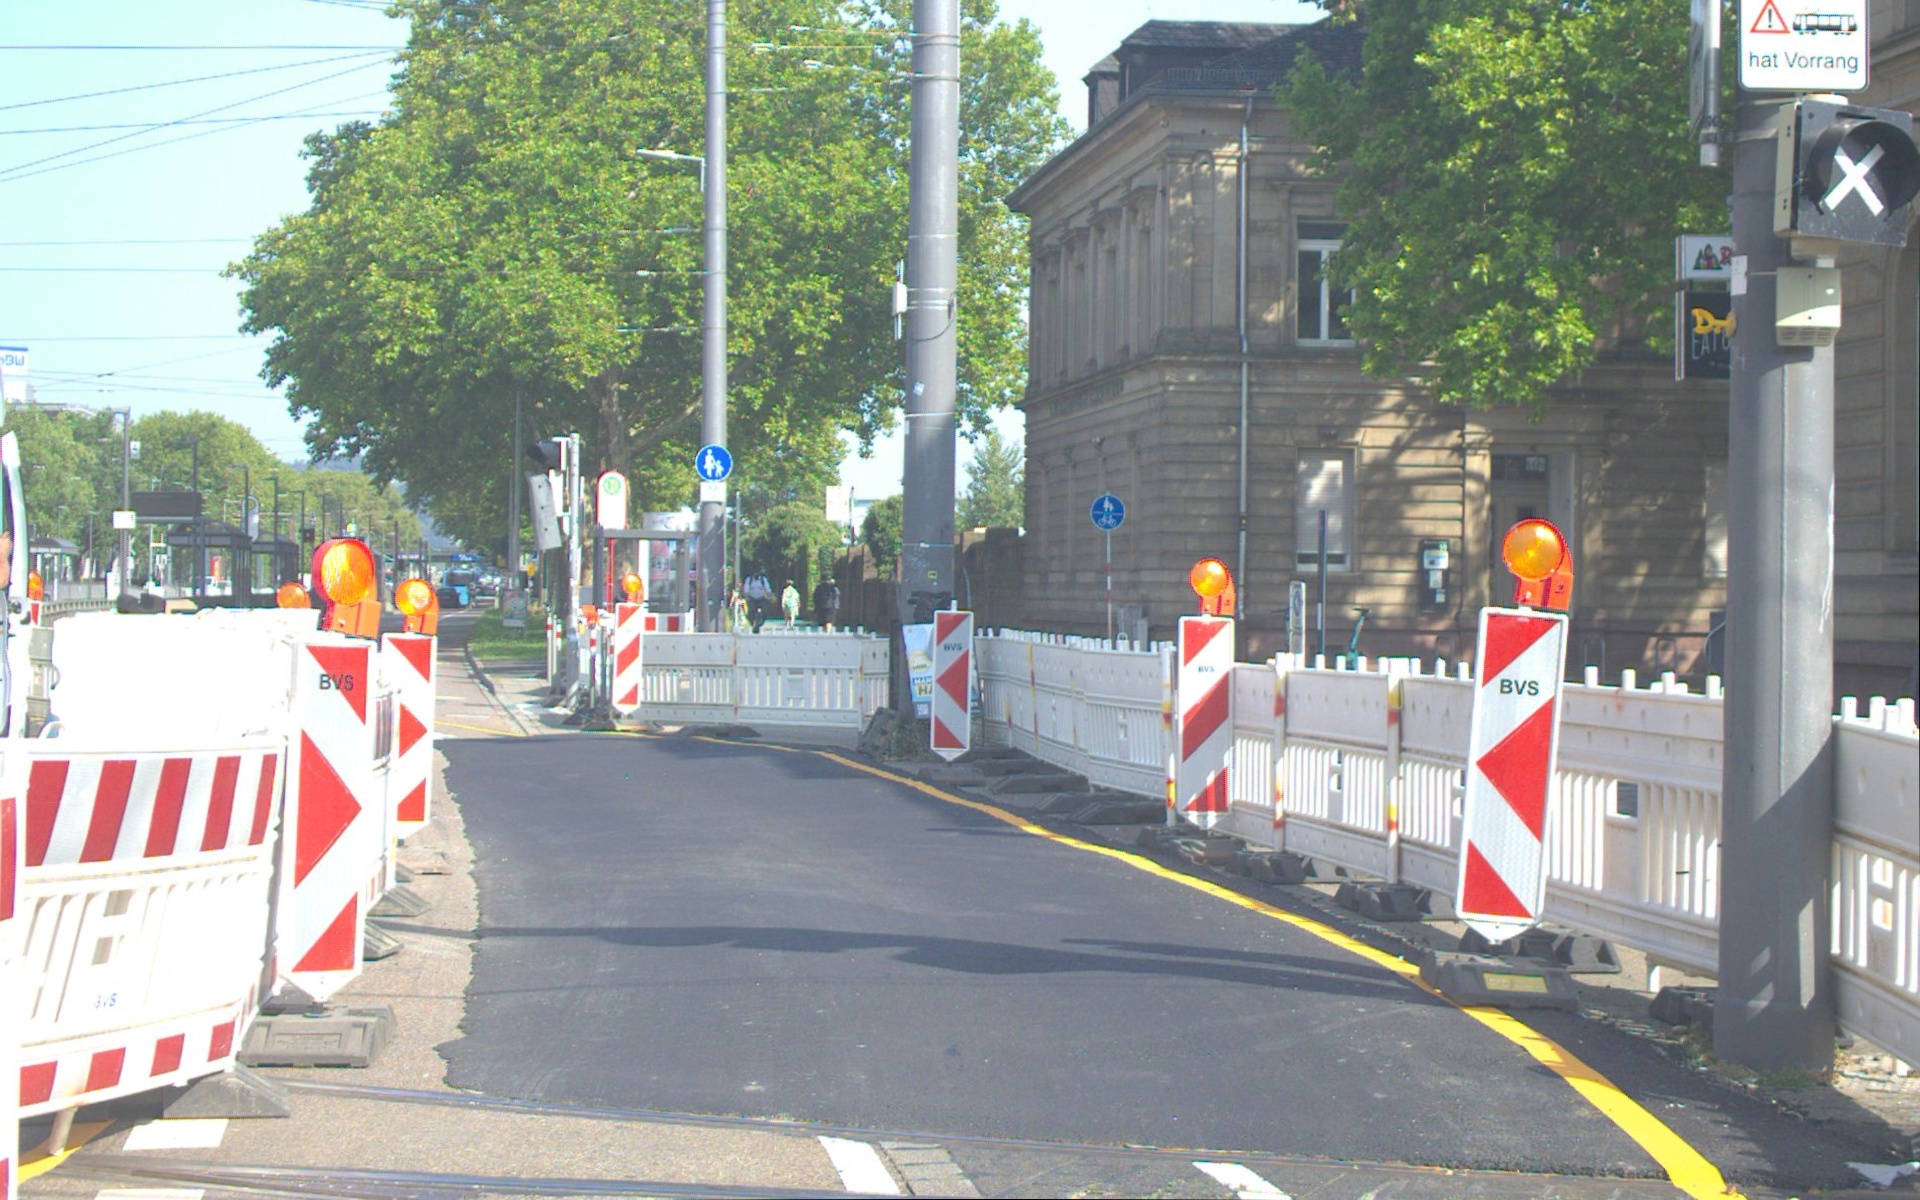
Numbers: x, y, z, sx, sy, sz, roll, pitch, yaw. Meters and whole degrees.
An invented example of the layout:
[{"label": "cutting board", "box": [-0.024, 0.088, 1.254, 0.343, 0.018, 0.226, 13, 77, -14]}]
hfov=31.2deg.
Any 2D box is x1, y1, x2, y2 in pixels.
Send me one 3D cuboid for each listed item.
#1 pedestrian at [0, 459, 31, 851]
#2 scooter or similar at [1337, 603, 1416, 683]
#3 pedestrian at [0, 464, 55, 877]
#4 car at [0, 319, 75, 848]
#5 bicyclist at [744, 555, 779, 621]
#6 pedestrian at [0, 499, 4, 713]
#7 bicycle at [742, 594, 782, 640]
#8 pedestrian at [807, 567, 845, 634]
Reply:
[{"label": "pedestrian", "box": [-5.294, 0.282, 17.792, 0.734, 2.007, 0.907, 0, 0, -1]}, {"label": "scooter or similar", "box": [6.509, 0.665, 53.704, 1.251, 1.206, 0.422, -1, 2, -32]}, {"label": "pedestrian", "box": [-5.012, 0.342, 16.789, 0.735, 2.007, 0.906, 0, 0, 26]}, {"label": "car", "box": [-6.476, -0.094, 19.863, 2.224, 2.720, 5.172, 0, 0, -19]}, {"label": "bicyclist", "box": [-4.627, -0.281, 80.182, 0.717, 1.538, 0.956, 0, 0, -10]}, {"label": "pedestrian", "box": [-8.060, 0.045, 27.017, 0.706, 1.688, 0.764, 0, 0, 29]}, {"label": "bicycle", "box": [-4.621, 0.387, 80.109, 0.717, 1.038, 1.903, 0, 0, -10]}, {"label": "pedestrian", "box": [-3.399, 0.011, 86.936, 0.819, 1.680, 1.012, -2, 0, -7]}]
